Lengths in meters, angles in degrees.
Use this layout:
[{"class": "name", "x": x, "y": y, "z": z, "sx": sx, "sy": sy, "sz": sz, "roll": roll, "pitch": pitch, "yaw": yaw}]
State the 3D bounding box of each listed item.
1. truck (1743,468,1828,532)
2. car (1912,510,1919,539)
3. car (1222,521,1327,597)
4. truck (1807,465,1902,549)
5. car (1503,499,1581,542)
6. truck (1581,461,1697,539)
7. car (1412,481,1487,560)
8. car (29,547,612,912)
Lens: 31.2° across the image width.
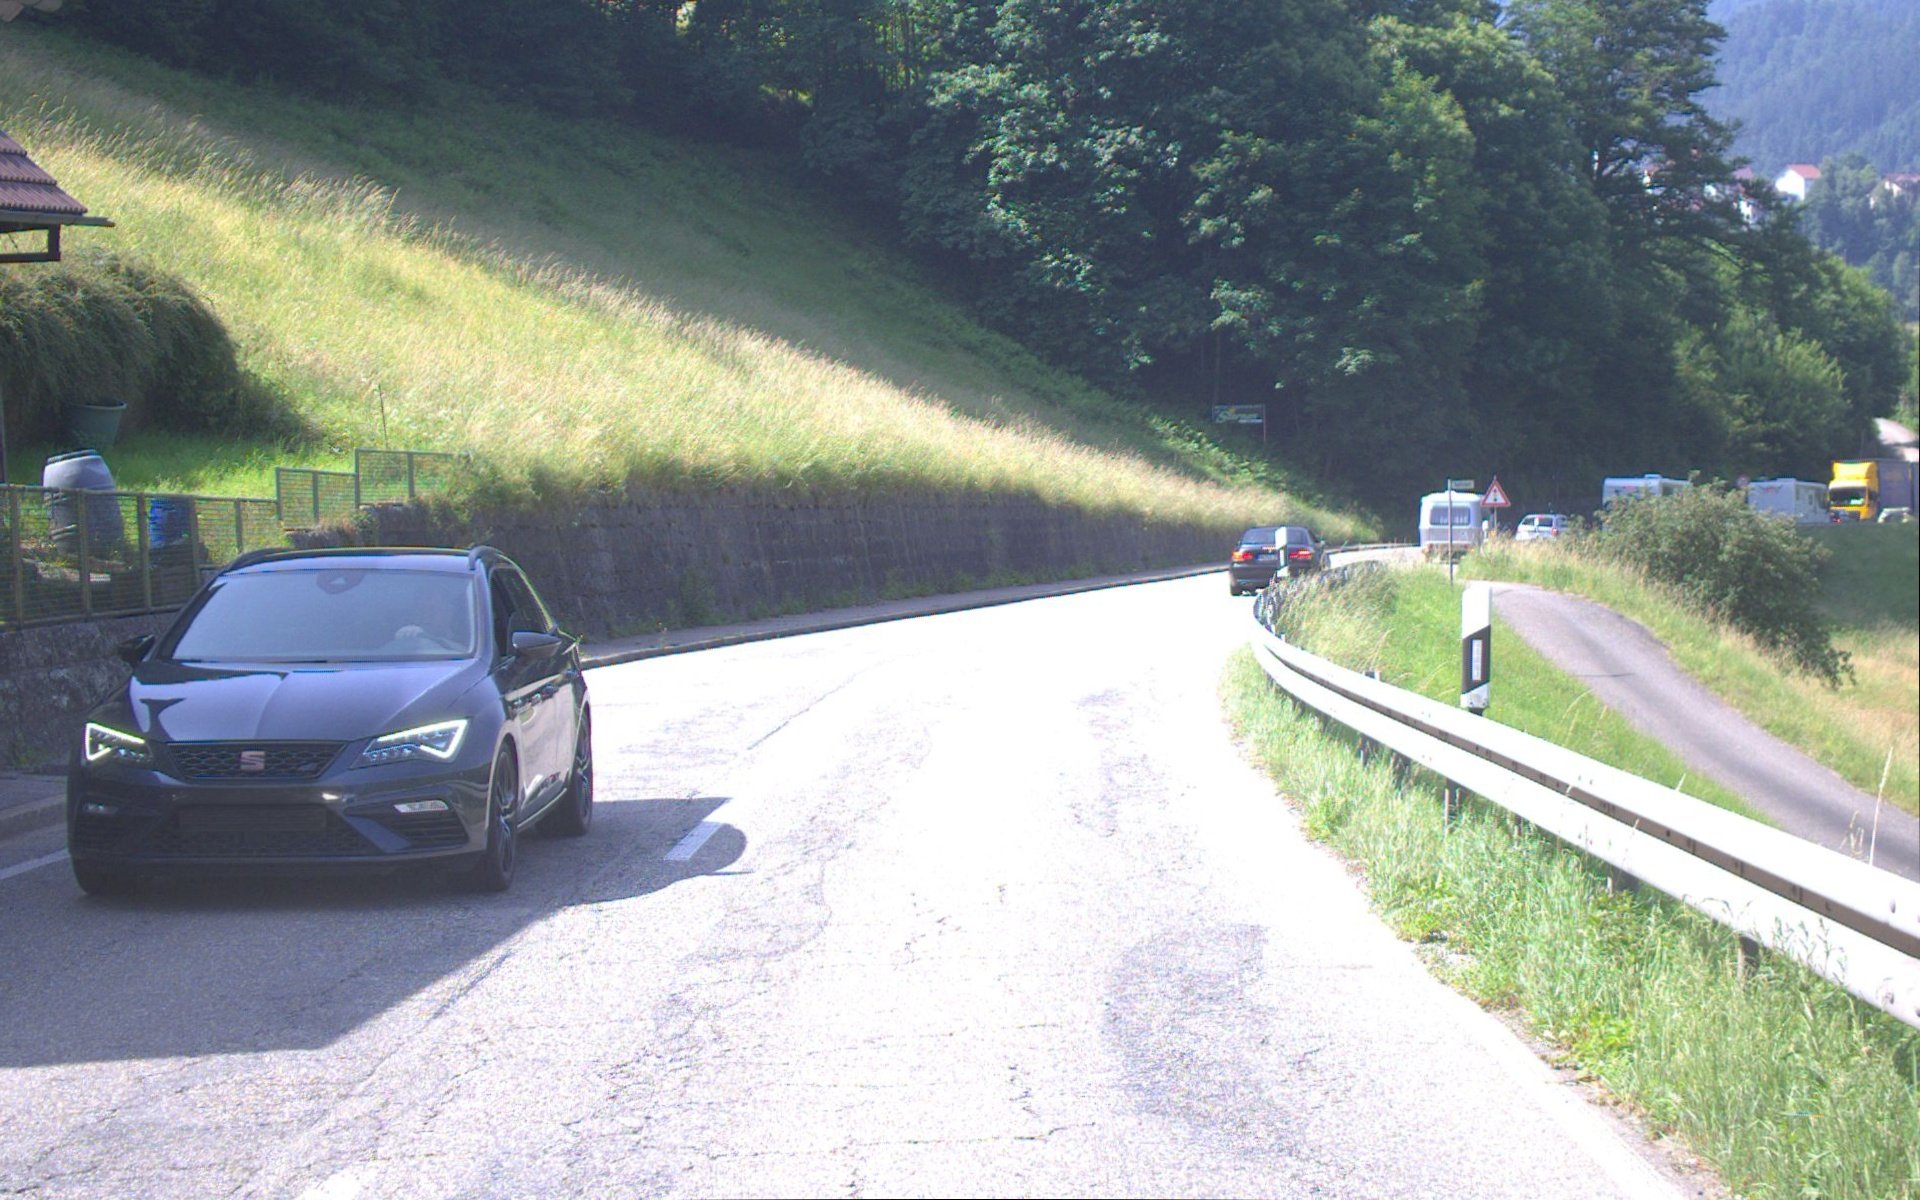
[{"class": "truck", "x": 38.422, "y": -4.634, "z": 159.868, "sx": 2.241, "sy": 2.794, "sz": 6.222, "roll": 2, "pitch": 1, "yaw": 28}, {"class": "car", "x": 51.204, "y": -3.909, "z": 179.379, "sx": 1.910, "sy": 1.481, "sz": 3.993, "roll": 5, "pitch": 3, "yaw": 31}, {"class": "car", "x": 6.202, "y": -0.825, "z": 67.492, "sx": 1.772, "sy": 1.331, "sz": 3.766, "roll": 1, "pitch": 3, "yaw": 9}, {"class": "truck", "x": 48.670, "y": -5.109, "z": 186.959, "sx": 3.194, "sy": 4.381, "sz": 6.561, "roll": 3, "pitch": 3, "yaw": 30}, {"class": "car", "x": 21.549, "y": -2.947, "z": 127.177, "sx": 1.996, "sy": 1.479, "sz": 3.996, "roll": 3, "pitch": 3, "yaw": 22}, {"class": "truck", "x": 27.710, "y": -4.121, "z": 140.152, "sx": 2.795, "sy": 2.987, "sz": 6.859, "roll": 4, "pitch": 4, "yaw": 26}, {"class": "car", "x": 15.730, "y": -2.585, "z": 110.331, "sx": 1.994, "sy": 2.344, "sz": 4.912, "roll": 1, "pitch": 3, "yaw": 12}, {"class": "car", "x": -2.710, "y": 0.477, "z": 15.509, "sx": 1.765, "sy": 1.391, "sz": 4.145, "roll": 0, "pitch": 1, "yaw": 1}]
